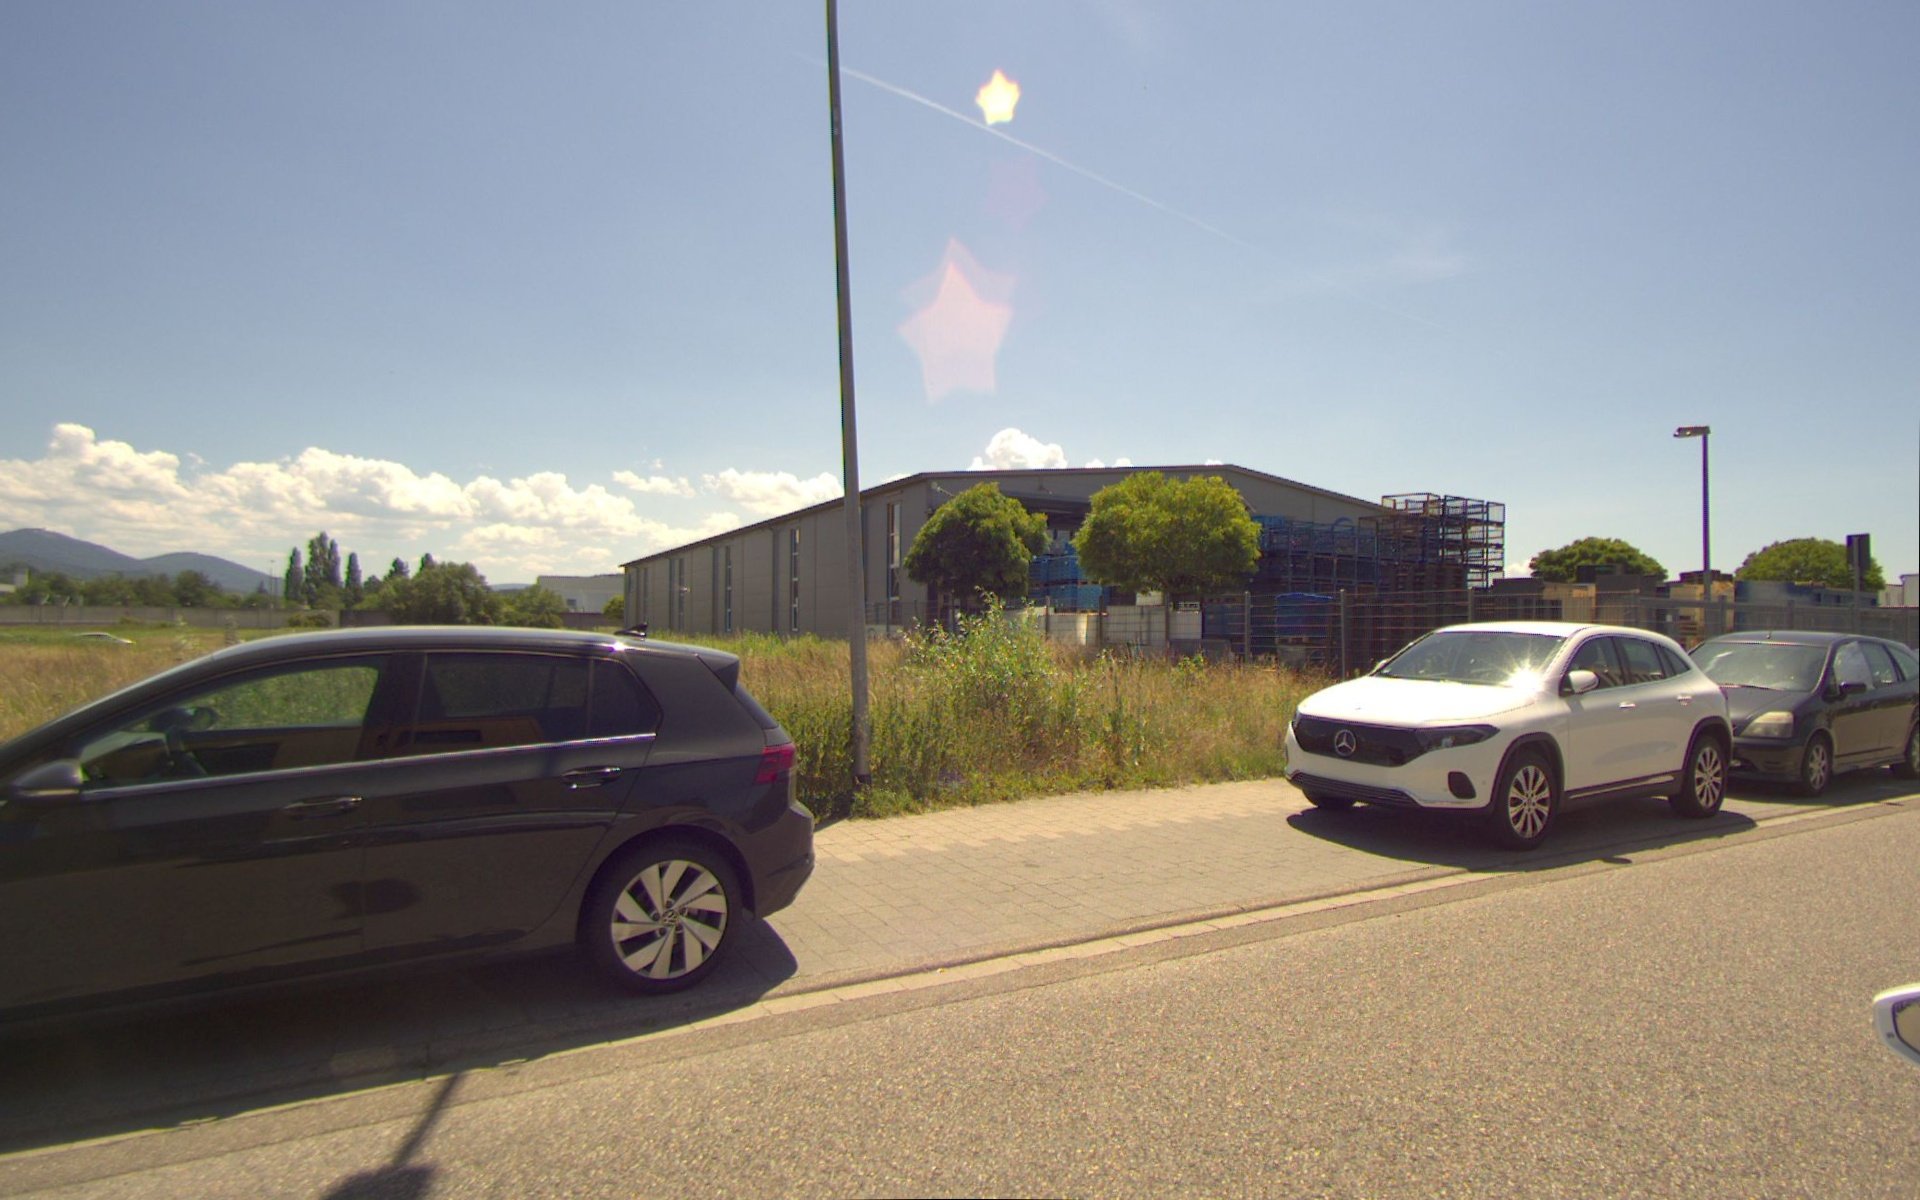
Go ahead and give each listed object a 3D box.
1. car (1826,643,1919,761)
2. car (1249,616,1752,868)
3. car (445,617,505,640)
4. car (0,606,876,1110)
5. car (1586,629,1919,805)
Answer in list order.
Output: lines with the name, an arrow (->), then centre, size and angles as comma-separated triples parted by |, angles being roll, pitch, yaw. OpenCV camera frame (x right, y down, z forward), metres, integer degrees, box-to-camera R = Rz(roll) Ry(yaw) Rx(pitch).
car -> 14.133, 1.390, 14.055 | 4.282, 1.480, 1.761 | 2, -1, -30
car -> 4.611, 0.995, 8.398 | 4.310, 1.613, 1.760 | 2, -1, -31
car -> -45.076, 2.667, 93.323 | 4.863, 2.040, 1.984 | 2, -2, -30
car -> -2.645, 0.812, 4.249 | 4.179, 1.500, 1.848 | 2, -1, -30
car -> 9.065, 1.163, 11.160 | 4.450, 1.577, 1.760 | 2, -1, -31
